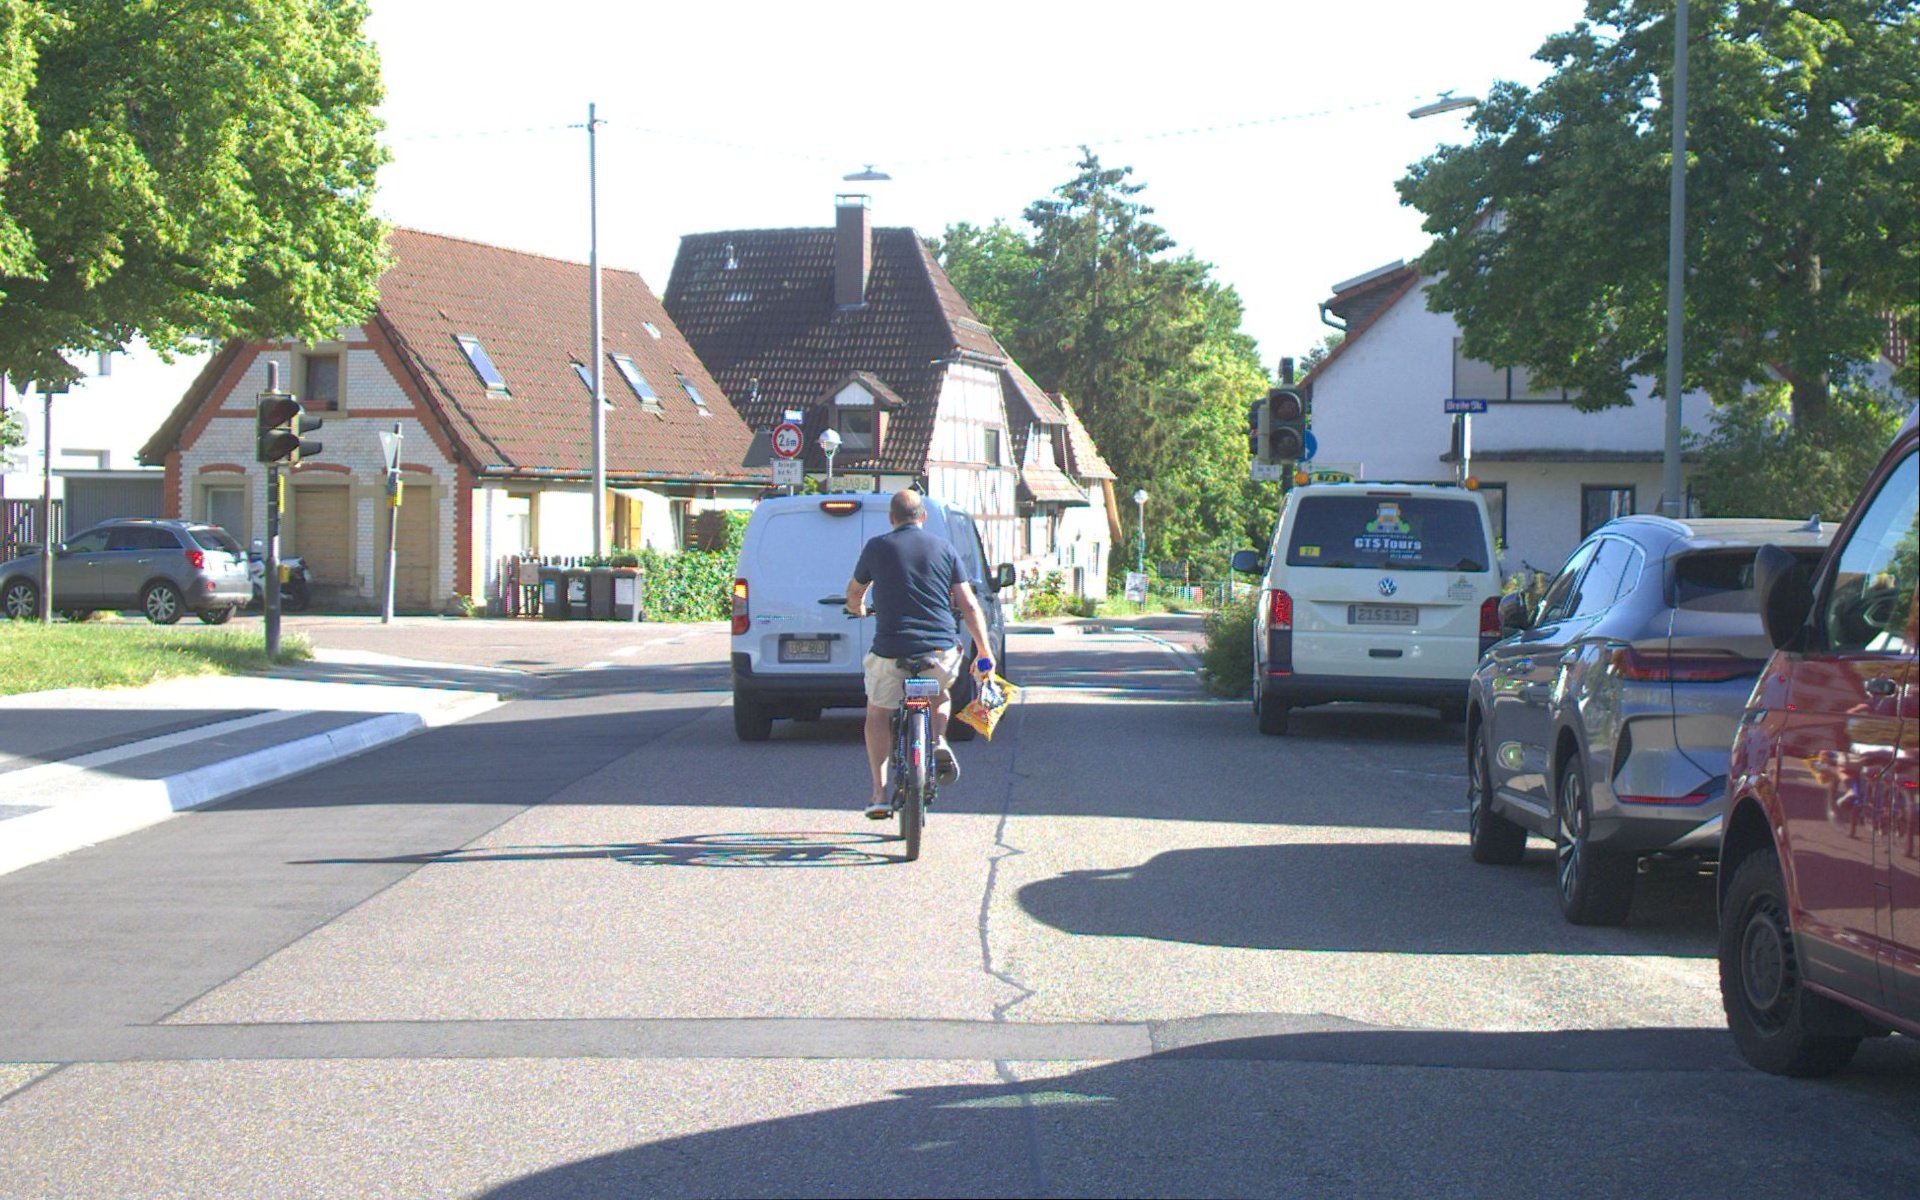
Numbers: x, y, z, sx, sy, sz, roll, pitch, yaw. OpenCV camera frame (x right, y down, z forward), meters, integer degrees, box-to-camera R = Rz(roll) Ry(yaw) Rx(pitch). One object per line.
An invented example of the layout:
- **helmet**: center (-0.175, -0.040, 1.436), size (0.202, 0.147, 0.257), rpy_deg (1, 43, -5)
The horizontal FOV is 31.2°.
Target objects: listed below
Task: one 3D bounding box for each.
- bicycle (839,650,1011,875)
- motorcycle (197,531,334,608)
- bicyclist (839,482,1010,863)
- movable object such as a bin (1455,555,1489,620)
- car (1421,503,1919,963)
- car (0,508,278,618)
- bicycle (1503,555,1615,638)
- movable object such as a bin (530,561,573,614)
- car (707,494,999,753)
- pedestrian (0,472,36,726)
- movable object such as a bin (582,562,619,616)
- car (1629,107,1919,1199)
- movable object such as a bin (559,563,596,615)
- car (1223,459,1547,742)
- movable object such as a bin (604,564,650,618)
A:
- **bicycle**: center (-0.197, 0.752, 16.716), size (0.774, 0.937, 2.291), rpy_deg (0, 1, -2)
- **motorcycle**: center (-12.317, -0.554, 60.957), size (2.244, 1.291, 0.882), rpy_deg (1, 4, 21)
- **bicyclist**: center (-0.183, 0.333, 16.682), size (0.764, 1.782, 0.853), rpy_deg (1, 1, -2)
- **movable object such as a bin**: center (8.992, -0.221, 60.396), size (0.527, 1.119, 0.748), rpy_deg (1, 1, 11)
- **car**: center (3.403, 0.477, 15.505), size (1.957, 1.732, 4.577), rpy_deg (2, 1, 0)
- **car**: center (-13.777, -0.623, 57.488), size (4.225, 1.719, 1.943), rpy_deg (2, 0, 21)
- **bicycle**: center (9.683, -0.058, 55.593), size (1.738, 1.279, 0.700), rpy_deg (2, 0, 10)
- **movable object such as a bin**: center (-7.189, -0.224, 60.477), size (0.508, 0.921, 0.625), rpy_deg (1, 1, 20)
- **car**: center (-0.746, 0.101, 26.973), size (1.957, 1.841, 4.560), rpy_deg (0, 2, 2)
- **pedestrian**: center (-7.138, -0.023, 24.396), size (0.717, 1.796, 0.770), rpy_deg (4, 2, 26)
- **movable object such as a bin**: center (-6.287, -0.198, 60.116), size (0.411, 0.921, 0.625), rpy_deg (1, 1, 20)
- **car**: center (3.286, 0.138, 8.542), size (1.957, 2.635, 5.224), rpy_deg (2, 1, -2)
- **movable object such as a bin**: center (-6.706, -0.197, 60.266), size (0.412, 0.903, 0.625), rpy_deg (1, 2, 20)
- **car**: center (3.360, -0.018, 28.068), size (1.993, 2.072, 4.578), rpy_deg (1, 0, 0)
- **movable object such as a bin**: center (-5.804, -0.159, 59.940), size (0.556, 0.921, 0.625), rpy_deg (1, 1, 20)
